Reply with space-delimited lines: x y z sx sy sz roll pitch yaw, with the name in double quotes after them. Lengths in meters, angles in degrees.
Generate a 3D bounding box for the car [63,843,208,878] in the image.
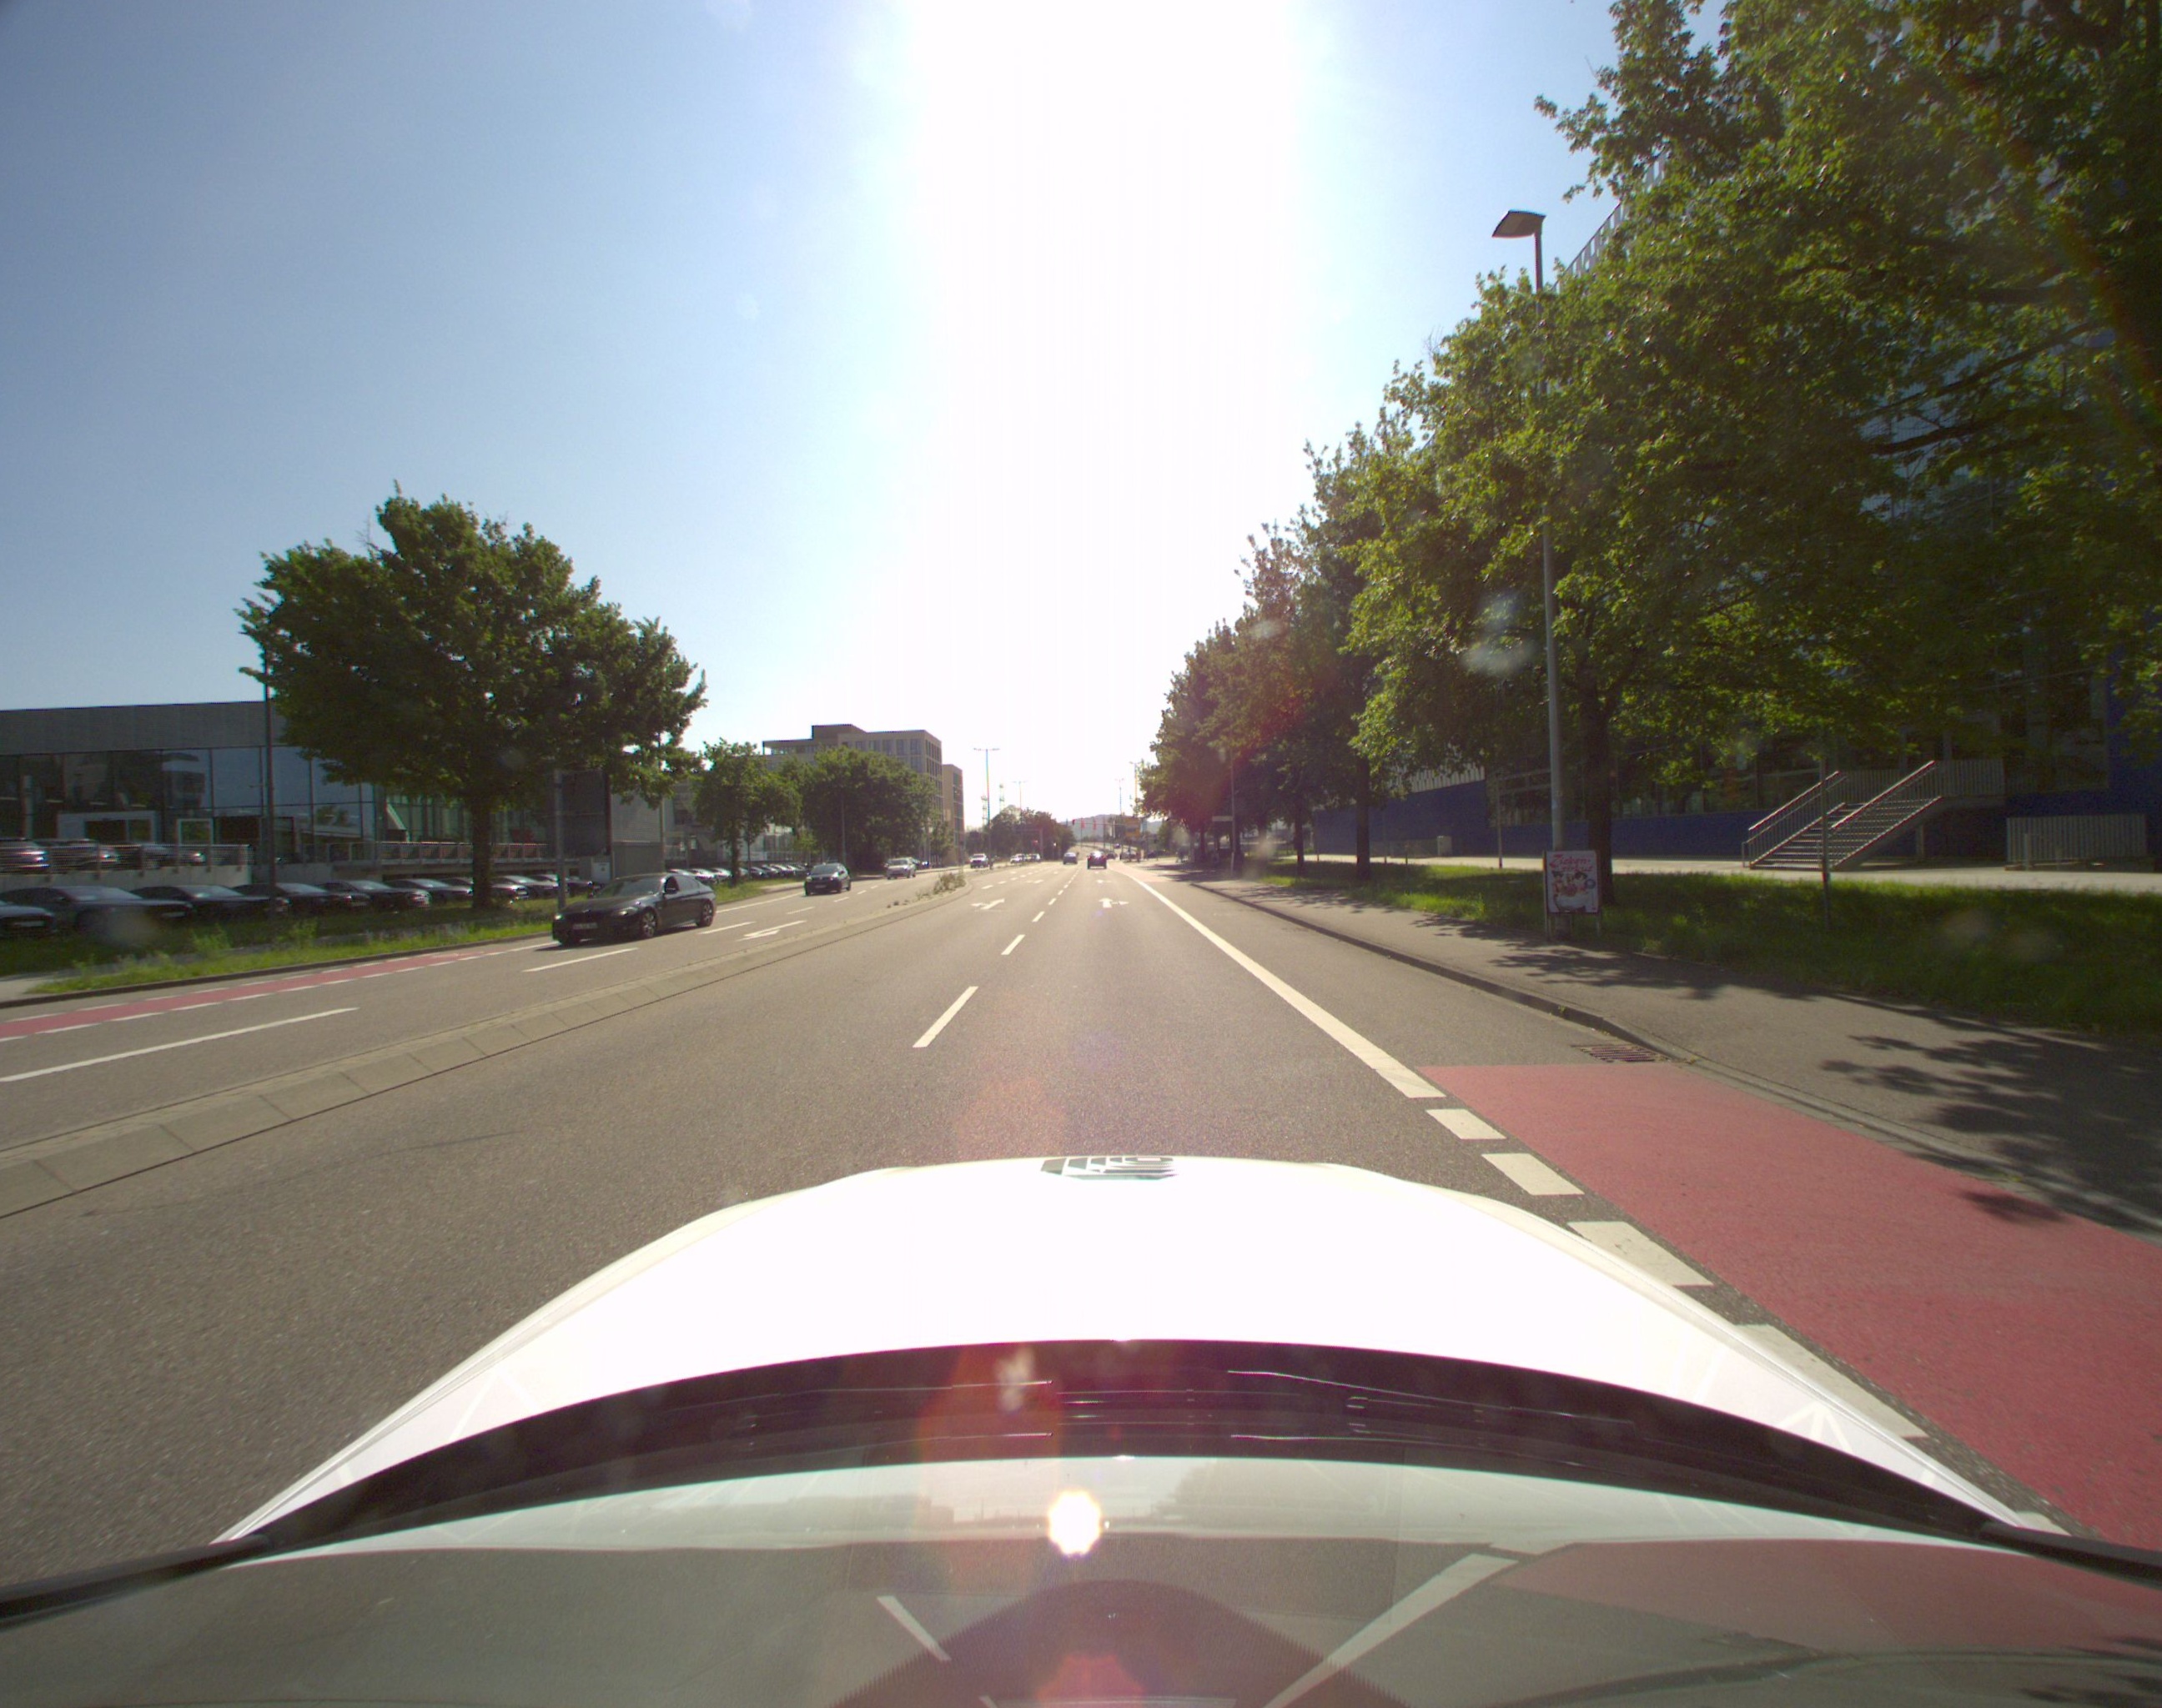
-42.394 0.283 36.582 4.249 1.350 1.955 -2 0 2 "car"

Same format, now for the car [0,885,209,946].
-26.295 1.615 21.622 4.247 1.350 1.956 -2 0 3 "car"

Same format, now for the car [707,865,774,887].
-24.994 1.598 59.864 3.972 1.376 1.925 -2 0 1 "car"

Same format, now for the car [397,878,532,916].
-26.118 1.793 34.572 4.247 1.350 1.956 -2 0 3 "car"

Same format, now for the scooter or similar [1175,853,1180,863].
11.609 0.451 98.203 0.348 1.233 1.316 -3 0 15 "scooter or similar"

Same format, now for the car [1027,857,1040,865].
-8.774 1.285 150.490 1.806 1.464 4.007 -3 0 6 "car"

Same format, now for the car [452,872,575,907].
-25.888 1.613 37.221 4.247 1.350 1.956 -2 0 3 "car"

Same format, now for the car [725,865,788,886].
-24.881 1.614 62.523 3.972 1.376 1.925 -2 0 1 "car"

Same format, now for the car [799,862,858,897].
-11.934 1.172 38.737 1.780 1.414 3.993 -4 0 -5 "car"

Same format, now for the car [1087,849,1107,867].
1.586 0.349 79.224 1.800 1.640 4.461 -2 0 2 "car"

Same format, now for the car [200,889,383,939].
-26.137 1.976 27.065 4.247 1.350 1.956 -2 0 3 "car"

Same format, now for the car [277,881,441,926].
-26.199 1.783 29.652 4.247 1.350 1.956 -2 0 3 "car"

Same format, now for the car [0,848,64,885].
-42.027 0.529 30.973 4.249 1.350 1.955 -2 0 2 "car"

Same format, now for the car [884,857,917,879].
-13.293 1.026 60.220 1.649 1.464 3.548 -4 0 -1 "car"

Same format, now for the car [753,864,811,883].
-24.660 1.605 67.259 3.972 1.376 1.925 -2 0 1 "car"

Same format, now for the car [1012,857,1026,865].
-11.906 1.313 156.849 1.806 1.464 4.007 -3 0 6 "car"

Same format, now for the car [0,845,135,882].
-42.455 0.402 33.759 4.249 1.350 1.955 -2 0 2 "car"

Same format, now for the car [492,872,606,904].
-25.816 1.632 39.640 4.247 1.350 1.956 -2 0 3 "car"

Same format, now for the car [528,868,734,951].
-10.287 1.181 19.180 1.834 1.463 5.002 -4 0 2 "car"

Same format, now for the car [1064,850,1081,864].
-1.061 0.377 108.493 1.986 1.684 4.002 -2 0 2 "car"

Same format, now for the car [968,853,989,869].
-13.164 0.880 104.911 1.987 1.832 4.936 -2 0 -1 "car"

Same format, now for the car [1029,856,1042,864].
-8.763 1.145 157.468 1.806 1.464 4.007 -3 0 6 "car"

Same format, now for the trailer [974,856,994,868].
-13.088 1.040 110.276 1.987 1.453 5.770 -2 0 -1 "trailer"

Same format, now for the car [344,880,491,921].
-26.142 1.799 32.182 4.247 1.350 1.956 -2 0 3 "car"

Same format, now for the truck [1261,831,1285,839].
50.350 -5.041 213.226 5.884 2.013 2.002 0 1 3 "truck"

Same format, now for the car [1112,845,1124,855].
6.517 -0.737 143.456 1.752 1.758 3.601 0 1 -1 "car"

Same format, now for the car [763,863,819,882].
-24.909 1.566 70.042 3.972 1.376 1.925 -2 0 1 "car"

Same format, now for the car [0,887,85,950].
-26.571 1.574 19.056 4.247 1.350 1.956 -2 0 3 "car"

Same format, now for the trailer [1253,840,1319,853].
38.133 -1.458 151.854 11.827 2.469 2.001 0 1 1 "trailer"

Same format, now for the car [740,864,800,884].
-24.758 1.598 64.875 3.972 1.376 1.925 -2 0 1 "car"

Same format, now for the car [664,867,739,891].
-25.373 1.653 54.557 4.027 1.376 2.026 -2 0 1 "car"

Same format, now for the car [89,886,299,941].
-26.428 1.738 24.360 4.247 1.350 1.956 -2 0 3 "car"

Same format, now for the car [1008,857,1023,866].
-11.969 1.319 149.359 1.882 1.464 4.007 -3 0 6 "car"

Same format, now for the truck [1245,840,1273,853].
33.147 -1.434 151.950 4.863 2.423 2.001 0 1 1 "truck"
